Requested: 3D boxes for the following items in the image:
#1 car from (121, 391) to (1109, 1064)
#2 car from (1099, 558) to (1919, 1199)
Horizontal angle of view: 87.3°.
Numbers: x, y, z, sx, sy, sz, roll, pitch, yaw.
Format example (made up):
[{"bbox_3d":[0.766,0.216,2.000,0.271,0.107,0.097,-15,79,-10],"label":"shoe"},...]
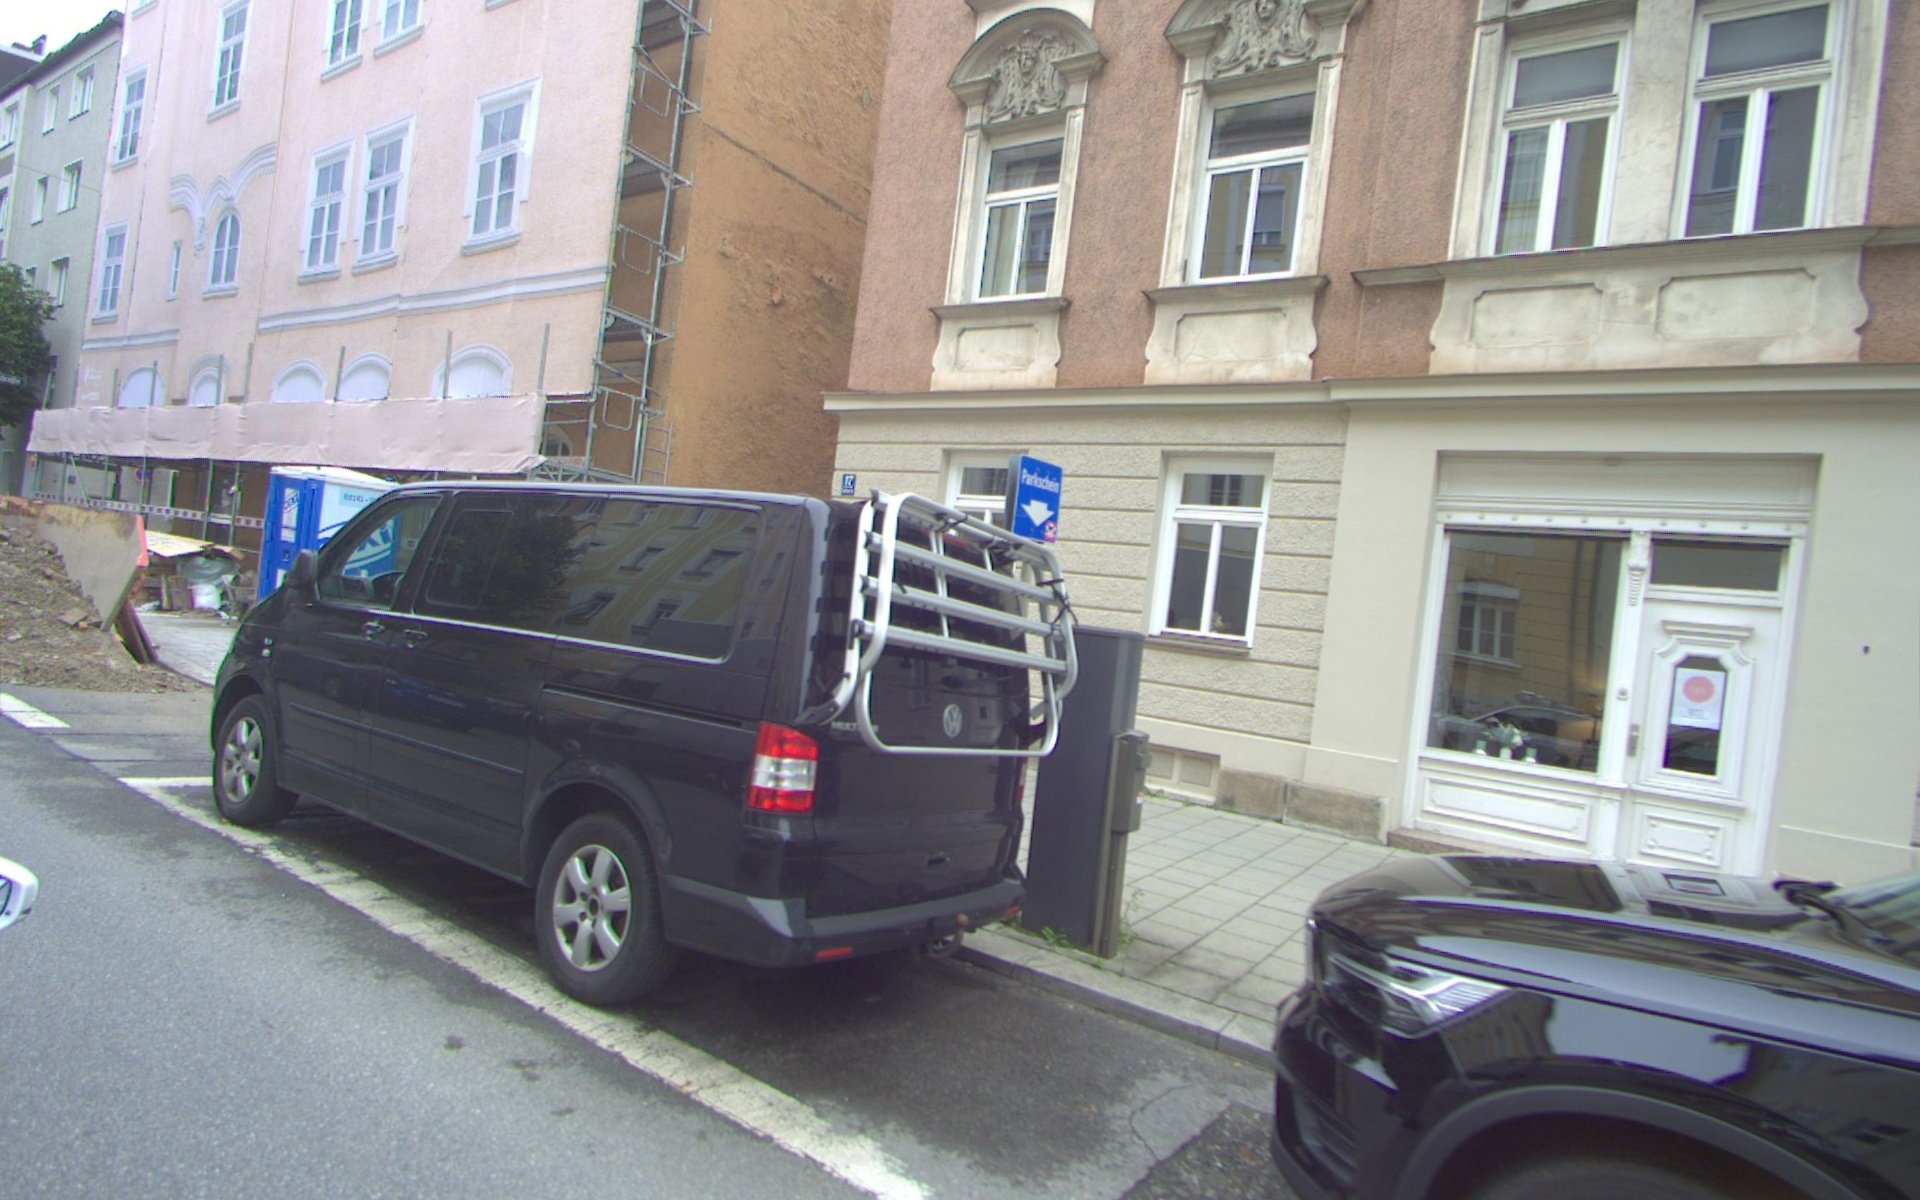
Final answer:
[{"bbox_3d":[-2.054,0.343,5.209,5.061,1.942,2.085,4,-4,35],"label":"car"},{"bbox_3d":[2.637,1.077,1.758,4.338,1.694,1.697,7,-4,35],"label":"car"}]
